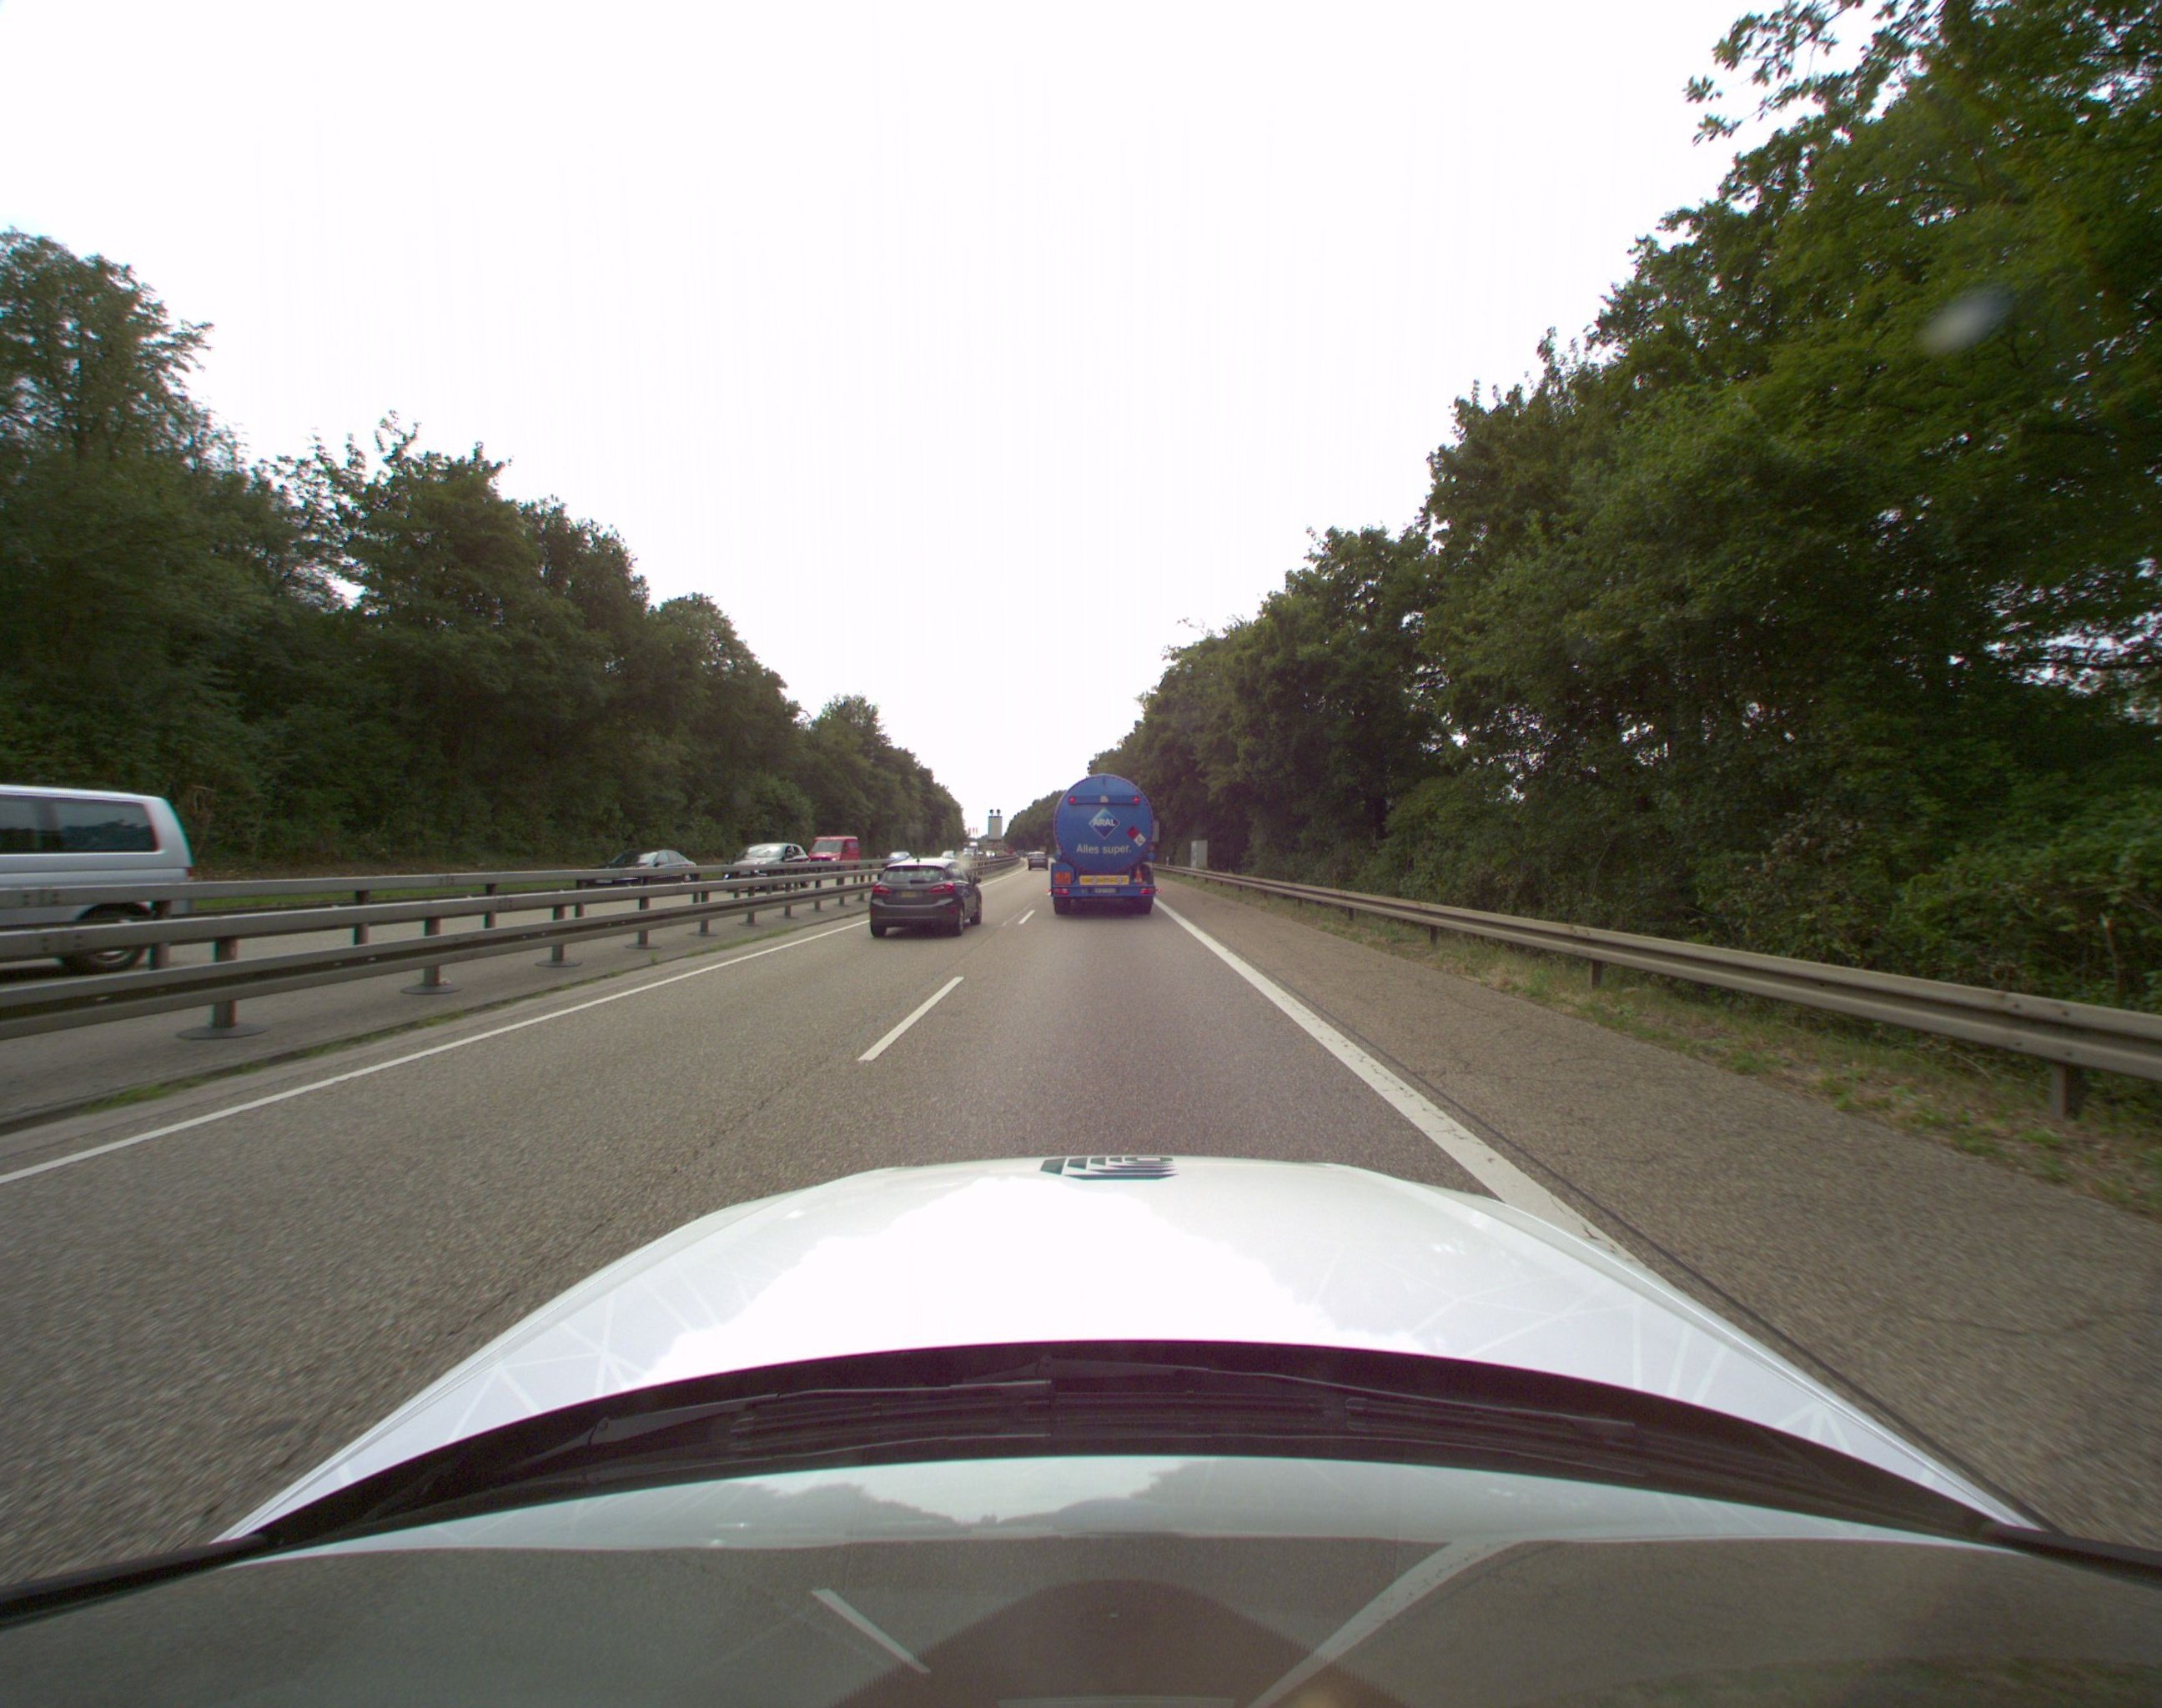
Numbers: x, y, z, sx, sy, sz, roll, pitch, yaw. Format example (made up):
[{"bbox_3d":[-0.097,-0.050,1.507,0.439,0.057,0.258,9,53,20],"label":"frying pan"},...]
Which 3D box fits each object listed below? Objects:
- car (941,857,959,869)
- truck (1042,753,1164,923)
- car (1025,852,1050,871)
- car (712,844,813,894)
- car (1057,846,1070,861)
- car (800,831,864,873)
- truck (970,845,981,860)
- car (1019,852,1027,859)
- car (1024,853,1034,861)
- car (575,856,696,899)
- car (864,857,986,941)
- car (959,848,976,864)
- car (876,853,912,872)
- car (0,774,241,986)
[{"bbox_3d":[-16.611,1.097,103.436,1.689,1.466,4.088,-1,0,0],"label":"car"},{"bbox_3d":[0.684,-0.365,22.480,2.744,3.846,7.694,-1,0,3],"label":"truck"},{"bbox_3d":[-3.894,0.688,73.557,1.819,1.609,4.170,-1,0,3],"label":"car"},{"bbox_3d":[-10.698,0.480,27.689,1.775,1.563,4.015,-1,0,1],"label":"car"},{"bbox_3d":[-2.647,-0.126,124.422,1.988,2.244,3.998,-1,0,-1],"label":"car"},{"bbox_3d":[-14.539,-0.097,47.878,2.059,2.256,5.374,-1,0,0],"label":"car"},{"bbox_3d":[-29.405,-0.339,227.623,2.687,4.063,5.314,-1,0,-4],"label":"truck"},{"bbox_3d":[-15.394,0.409,215.119,1.991,1.552,3.992,-1,0,-5],"label":"car"},{"bbox_3d":[-10.311,0.580,161.376,1.951,1.567,3.993,-1,0,-4],"label":"car"},{"bbox_3d":[-14.843,0.741,27.388,1.768,1.296,4.107,-1,0,0],"label":"car"},{"bbox_3d":[-3.037,0.808,16.794,1.822,1.458,4.634,-1,0,-3],"label":"car"},{"bbox_3d":[-17.156,0.316,123.162,1.931,2.321,5.299,-1,0,-3],"label":"car"},{"bbox_3d":[-15.793,0.695,68.967,1.987,1.509,4.504,-1,0,0],"label":"car"},{"bbox_3d":[-11.031,0.255,7.227,1.815,1.983,5.059,-1,0,1],"label":"car"}]
